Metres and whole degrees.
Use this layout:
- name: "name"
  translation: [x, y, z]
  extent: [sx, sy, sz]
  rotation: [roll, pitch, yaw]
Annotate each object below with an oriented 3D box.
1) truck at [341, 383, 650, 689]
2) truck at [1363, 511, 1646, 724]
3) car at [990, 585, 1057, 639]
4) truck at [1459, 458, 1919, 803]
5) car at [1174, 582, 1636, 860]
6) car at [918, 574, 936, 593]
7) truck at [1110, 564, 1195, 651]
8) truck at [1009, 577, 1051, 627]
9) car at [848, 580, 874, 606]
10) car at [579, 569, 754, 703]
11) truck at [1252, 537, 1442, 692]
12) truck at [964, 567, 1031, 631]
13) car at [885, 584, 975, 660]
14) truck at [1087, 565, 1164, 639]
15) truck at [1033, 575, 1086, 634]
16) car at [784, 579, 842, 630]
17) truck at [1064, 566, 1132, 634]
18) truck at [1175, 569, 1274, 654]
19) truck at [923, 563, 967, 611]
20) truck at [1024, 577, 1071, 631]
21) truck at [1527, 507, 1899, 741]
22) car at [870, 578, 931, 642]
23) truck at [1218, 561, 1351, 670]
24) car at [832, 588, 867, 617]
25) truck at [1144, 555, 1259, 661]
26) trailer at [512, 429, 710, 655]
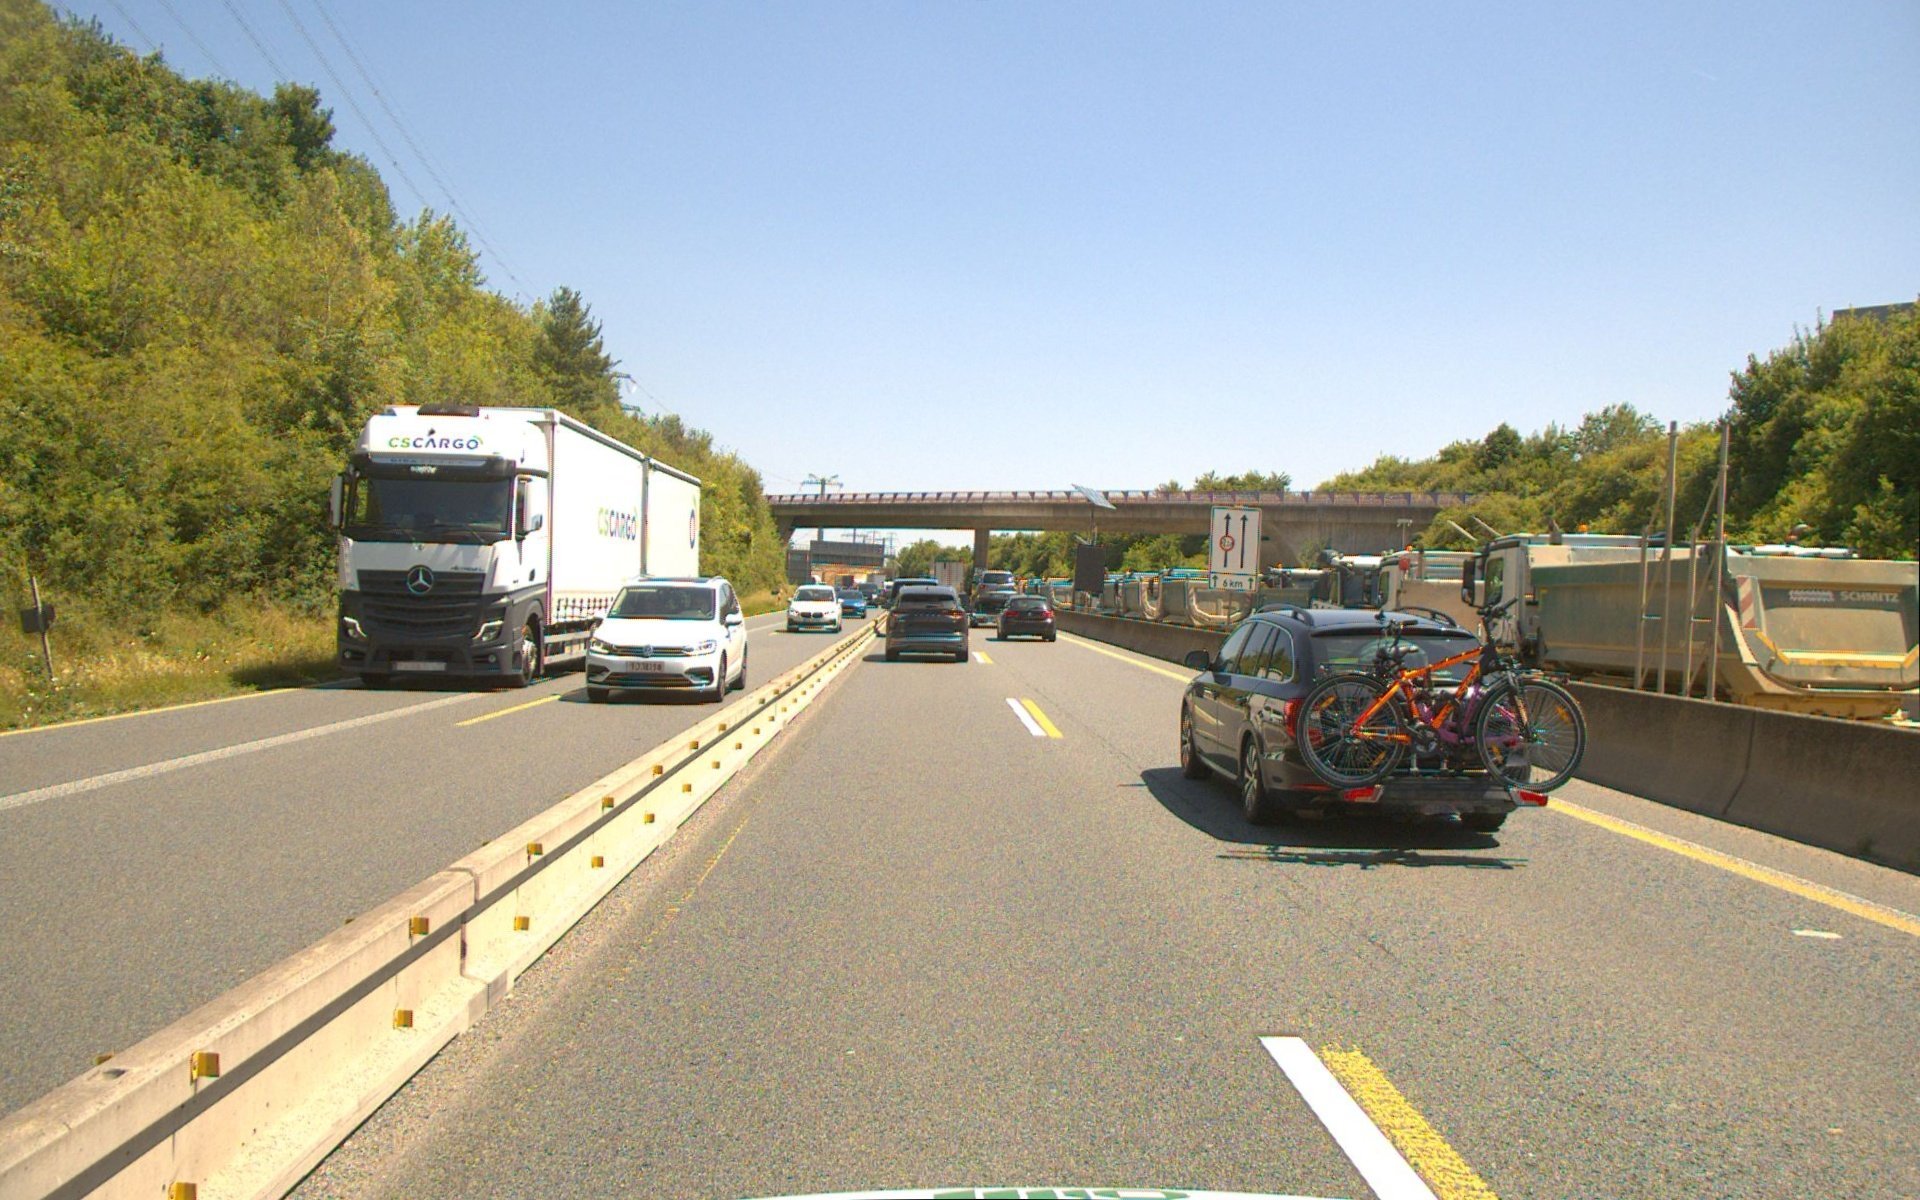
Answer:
- name: "truck"
  translation: [-7.259, -0.897, 27.603]
  extent: [2.361, 4.061, 10.349]
  rotation: [2, 0, -2]
- name: "truck"
  translation: [10.371, 0.278, 32.676]
  extent: [2.481, 3.572, 8.943]
  rotation: [1, 0, -1]
- name: "car"
  translation: [1.988, 0.375, 52.924]
  extent: [1.861, 1.613, 4.275]
  rotation: [2, 0, -1]
- name: "truck"
  translation: [9.372, 0.300, 21.868]
  extent: [2.482, 3.572, 9.094]
  rotation: [1, 0, -2]
- name: "car"
  translation: [2.828, 0.687, 11.778]
  extent: [1.860, 1.516, 4.946]
  rotation: [2, 0, -1]
- name: "car"
  translation: [-3.524, -1.758, 177.200]
  extent: [1.860, 2.003, 4.275]
  rotation: [1, 0, -1]
- name: "truck"
  translation: [8.588, 0.305, 74.816]
  extent: [2.632, 3.619, 9.405]
  rotation: [1, 0, 0]
- name: "truck"
  translation: [5.766, 0.129, 137.812]
  extent: [2.633, 3.910, 9.321]
  rotation: [1, 0, -2]
- name: "car"
  translation: [-8.082, -0.555, 135.649]
  extent: [1.852, 2.049, 4.817]
  rotation: [2, 0, -1]
- name: "car"
  translation: [-3.978, 0.459, 23.039]
  extent: [1.788, 1.659, 4.149]
  rotation: [1, 0, -2]
- name: "truck"
  translation: [10.080, 0.318, 44.200]
  extent: [2.487, 3.619, 9.599]
  rotation: [1, 0, -2]
- name: "truck"
  translation: [1.556, -0.092, 72.278]
  extent: [2.357, 2.603, 7.496]
  rotation: [1, 1, -3]
- name: "car"
  translation: [-0.657, 0.460, 36.789]
  extent: [1.860, 1.531, 4.275]
  rotation: [2, 0, -1]
- name: "truck"
  translation: [8.534, 0.070, 86.178]
  extent: [2.633, 3.619, 9.321]
  rotation: [1, 0, -3]
- name: "truck"
  translation: [6.763, 0.285, 113.770]
  extent: [2.633, 3.826, 9.321]
  rotation: [1, 0, -2]
- name: "car"
  translation: [-5.111, 0.156, 57.922]
  extent: [1.727, 1.660, 4.295]
  rotation: [2, 0, -2]
- name: "truck"
  translation: [7.839, -0.035, 95.075]
  extent: [2.633, 3.619, 9.321]
  rotation: [1, 0, -3]
- name: "truck"
  translation: [11.512, 0.436, 72.797]
  extent: [2.632, 3.437, 9.601]
  rotation: [1, 0, -1]
- name: "truck"
  translation: [-1.360, -1.113, 142.441]
  extent: [3.227, 3.912, 10.102]
  rotation: [1, 0, -4]
- name: "truck"
  translation: [6.530, 0.255, 125.244]
  extent: [2.633, 3.923, 9.321]
  rotation: [1, 0, -2]
- name: "truck"
  translation: [13.152, 0.350, 29.900]
  extent: [2.633, 3.572, 8.377]
  rotation: [1, 0, -2]
- name: "car"
  translation: [-1.944, 0.325, 55.048]
  extent: [1.860, 2.003, 4.275]
  rotation: [1, 0, -1]
- name: "truck"
  translation: [11.680, 0.488, 60.528]
  extent: [2.633, 3.619, 9.599]
  rotation: [1, 0, -2]
- name: "car"
  translation: [-5.776, 0.113, 86.773]
  extent: [1.678, 1.450, 4.168]
  rotation: [2, 0, -2]
- name: "truck"
  translation: [8.951, 0.255, 62.435]
  extent: [2.633, 3.619, 9.600]
  rotation: [1, 0, -2]
- name: "trailer"
  translation: [-7.562, -1.179, 37.026]
  extent: [2.584, 4.388, 8.446]
  rotation: [2, 0, -1]
